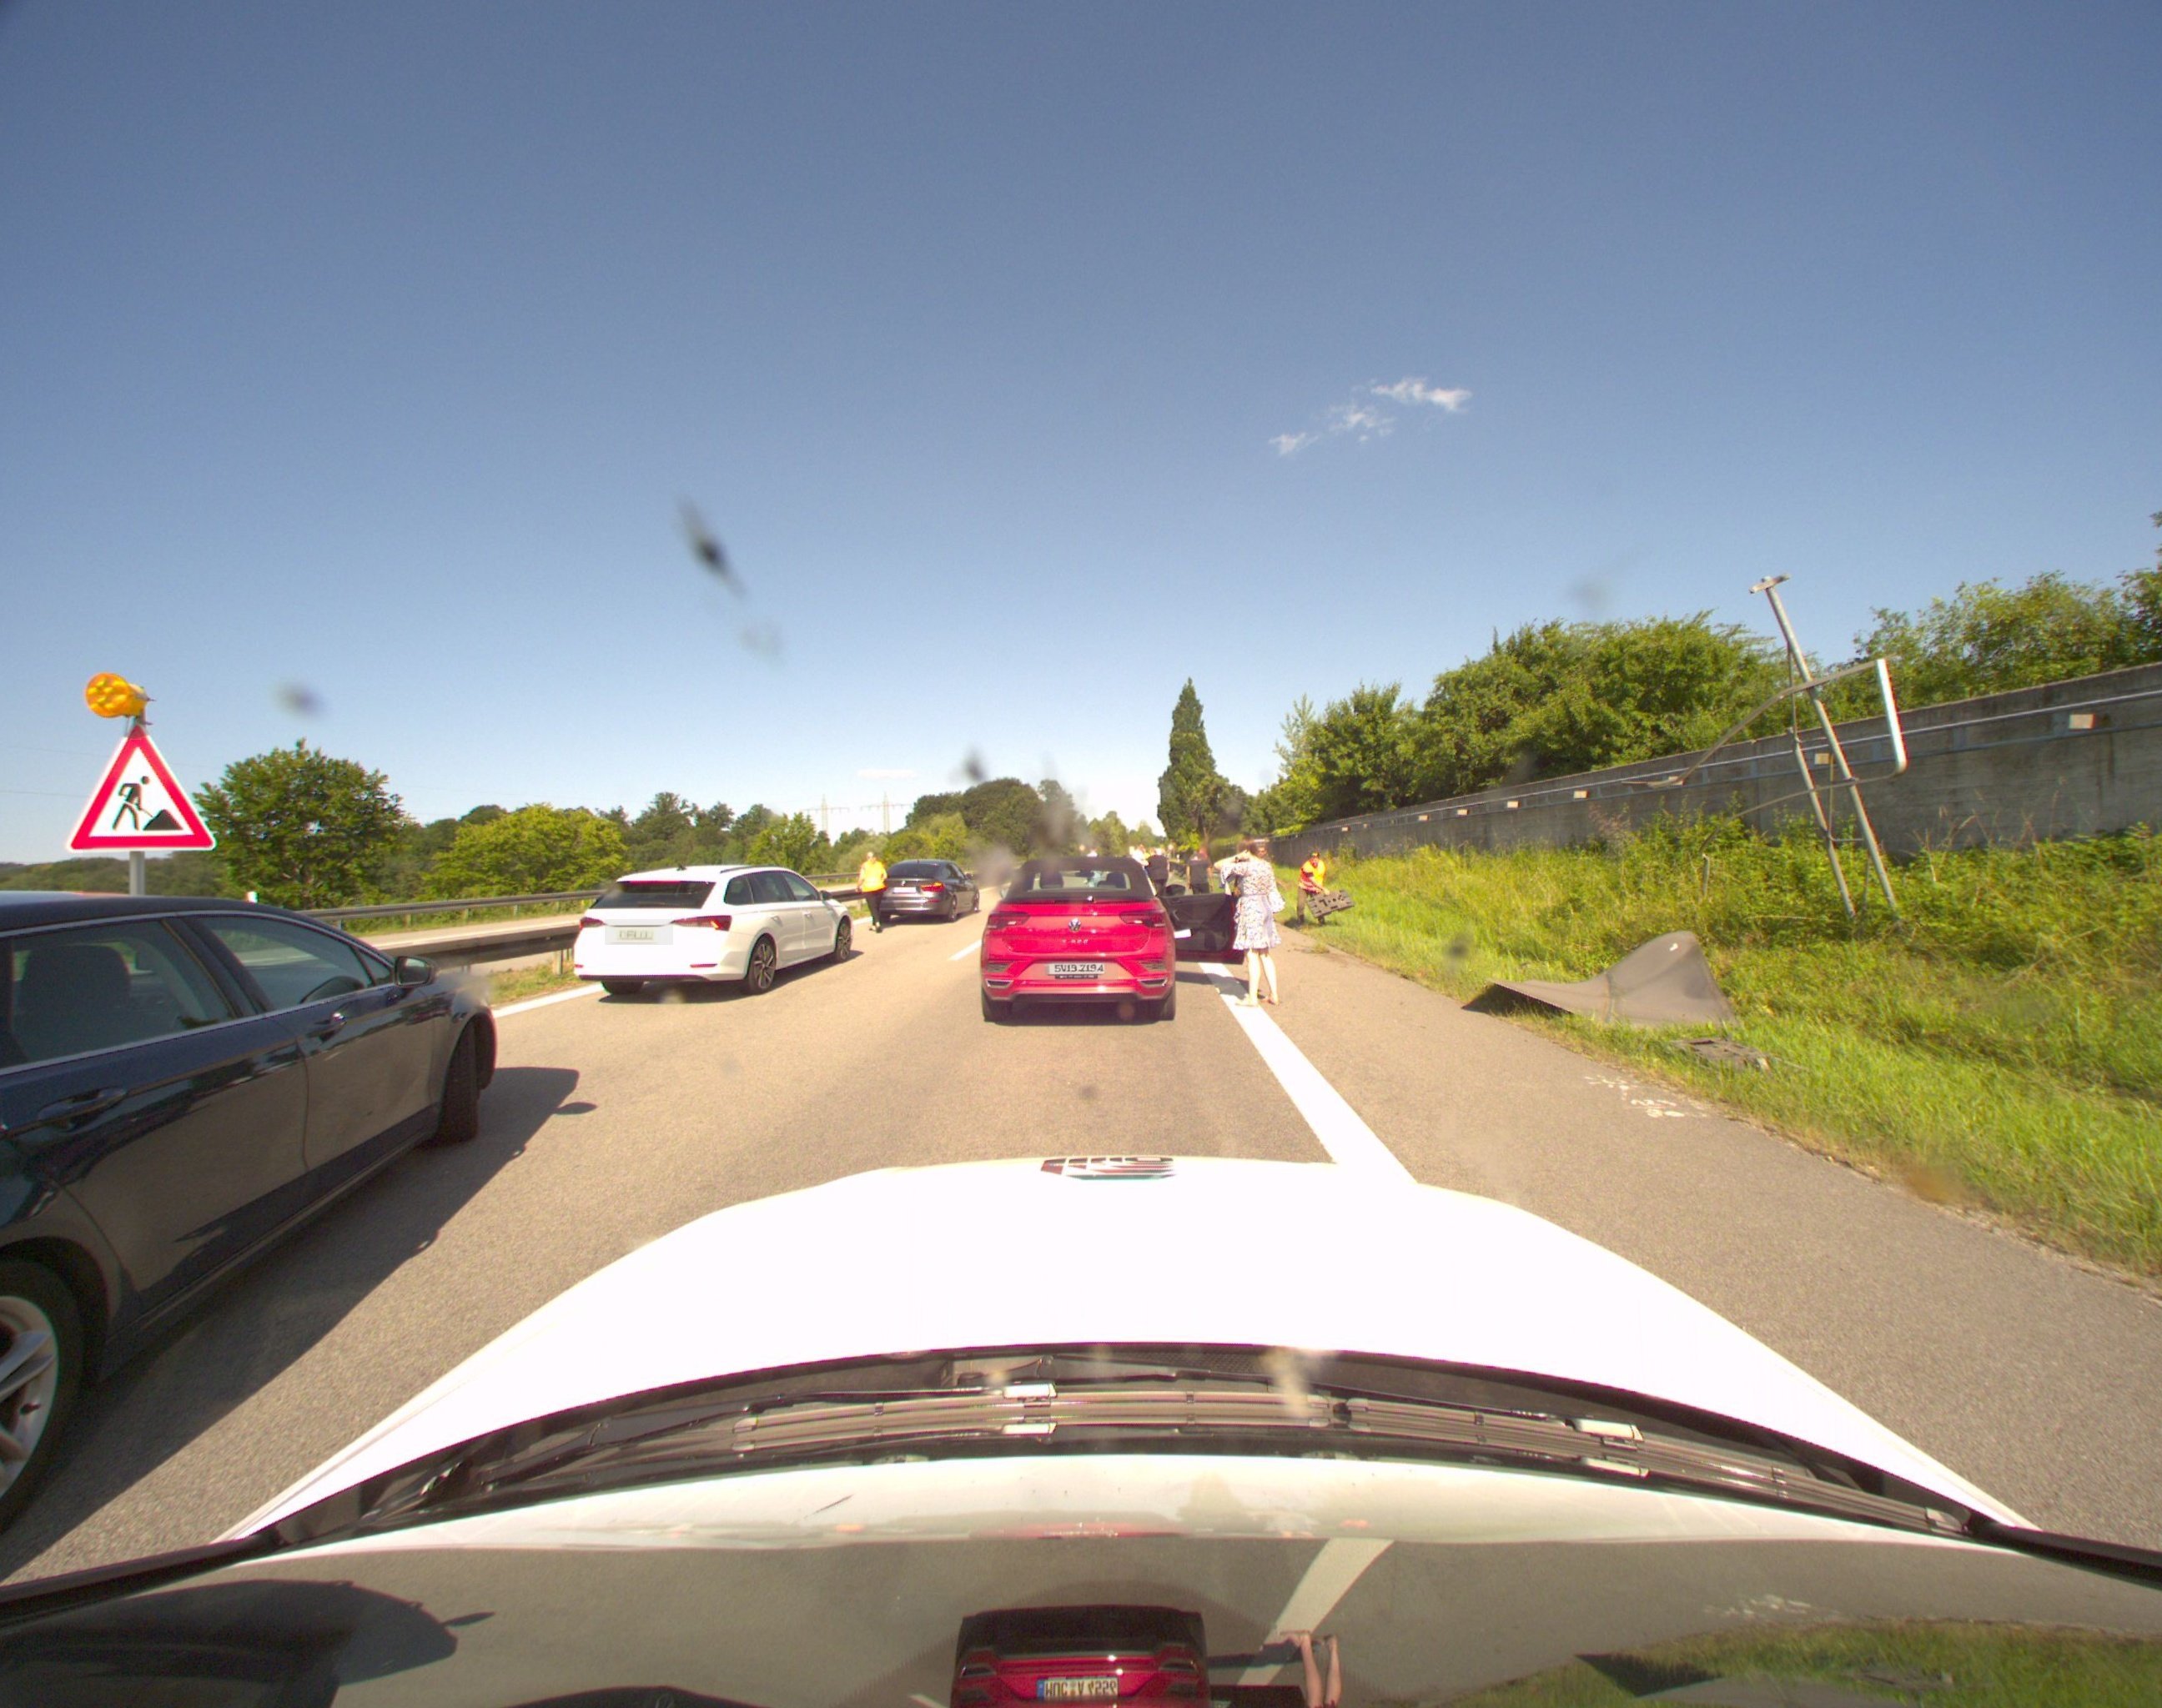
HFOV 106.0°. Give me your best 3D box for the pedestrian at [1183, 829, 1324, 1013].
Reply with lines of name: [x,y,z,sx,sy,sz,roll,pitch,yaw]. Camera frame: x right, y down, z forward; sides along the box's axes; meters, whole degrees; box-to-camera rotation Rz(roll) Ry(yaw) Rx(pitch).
pedestrian: [1.717,0.623,8.245,0.893,1.695,1.121,-2,0,-20]

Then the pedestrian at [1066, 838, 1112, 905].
pedestrian: [0.226,0.470,22.412,1.097,1.789,1.094,-1,-1,10]

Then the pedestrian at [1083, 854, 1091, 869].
pedestrian: [0.689,0.884,93.715,0.787,1.689,0.794,0,-1,7]

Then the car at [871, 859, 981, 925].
car: [-3.683,0.846,20.114,1.688,1.426,4.337,-1,0,3]

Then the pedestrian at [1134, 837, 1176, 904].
pedestrian: [2.146,0.473,23.828,1.086,1.883,1.069,-2,0,1]

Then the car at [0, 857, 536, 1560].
car: [-3.565,0.792,2.641,1.793,1.493,4.465,-2,0,-18]

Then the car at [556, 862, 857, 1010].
car: [-4.350,0.849,10.303,1.688,1.441,4.213,-1,0,3]

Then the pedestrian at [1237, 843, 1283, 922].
pedestrian: [3.965,0.621,18.072,0.891,1.725,0.755,0,-1,4]

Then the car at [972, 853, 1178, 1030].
car: [0.047,0.740,8.971,1.725,1.487,4.213,-1,0,3]

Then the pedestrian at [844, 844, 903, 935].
pedestrian: [-4.293,0.700,16.798,1.044,1.763,1.111,-2,0,-19]

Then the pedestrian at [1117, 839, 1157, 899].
pedestrian: [1.860,0.489,27.159,1.104,1.912,1.255,-2,0,-5]

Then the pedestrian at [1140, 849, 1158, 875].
pedestrian: [4.401,0.525,52.698,1.049,1.689,1.020,-1,-1,9]

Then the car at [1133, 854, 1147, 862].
car: [11.761,0.851,162.054,1.718,1.487,4.231,-1,0,19]

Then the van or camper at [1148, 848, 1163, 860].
van or camper: [14.789,0.033,160.822,1.978,2.316,4.490,-1,-1,17]

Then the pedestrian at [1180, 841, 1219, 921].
pedestrian: [2.697,0.608,18.504,0.806,1.759,0.831,0,-1,12]

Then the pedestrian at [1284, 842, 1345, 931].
pedestrian: [4.582,0.619,16.079,0.952,1.653,1.281,-2,0,9]

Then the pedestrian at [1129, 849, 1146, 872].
pedestrian: [4.035,0.463,58.294,1.107,1.689,0.975,0,-1,7]

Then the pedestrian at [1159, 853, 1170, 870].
pedestrian: [8.179,0.717,79.889,0.991,1.689,1.012,0,-1,6]
